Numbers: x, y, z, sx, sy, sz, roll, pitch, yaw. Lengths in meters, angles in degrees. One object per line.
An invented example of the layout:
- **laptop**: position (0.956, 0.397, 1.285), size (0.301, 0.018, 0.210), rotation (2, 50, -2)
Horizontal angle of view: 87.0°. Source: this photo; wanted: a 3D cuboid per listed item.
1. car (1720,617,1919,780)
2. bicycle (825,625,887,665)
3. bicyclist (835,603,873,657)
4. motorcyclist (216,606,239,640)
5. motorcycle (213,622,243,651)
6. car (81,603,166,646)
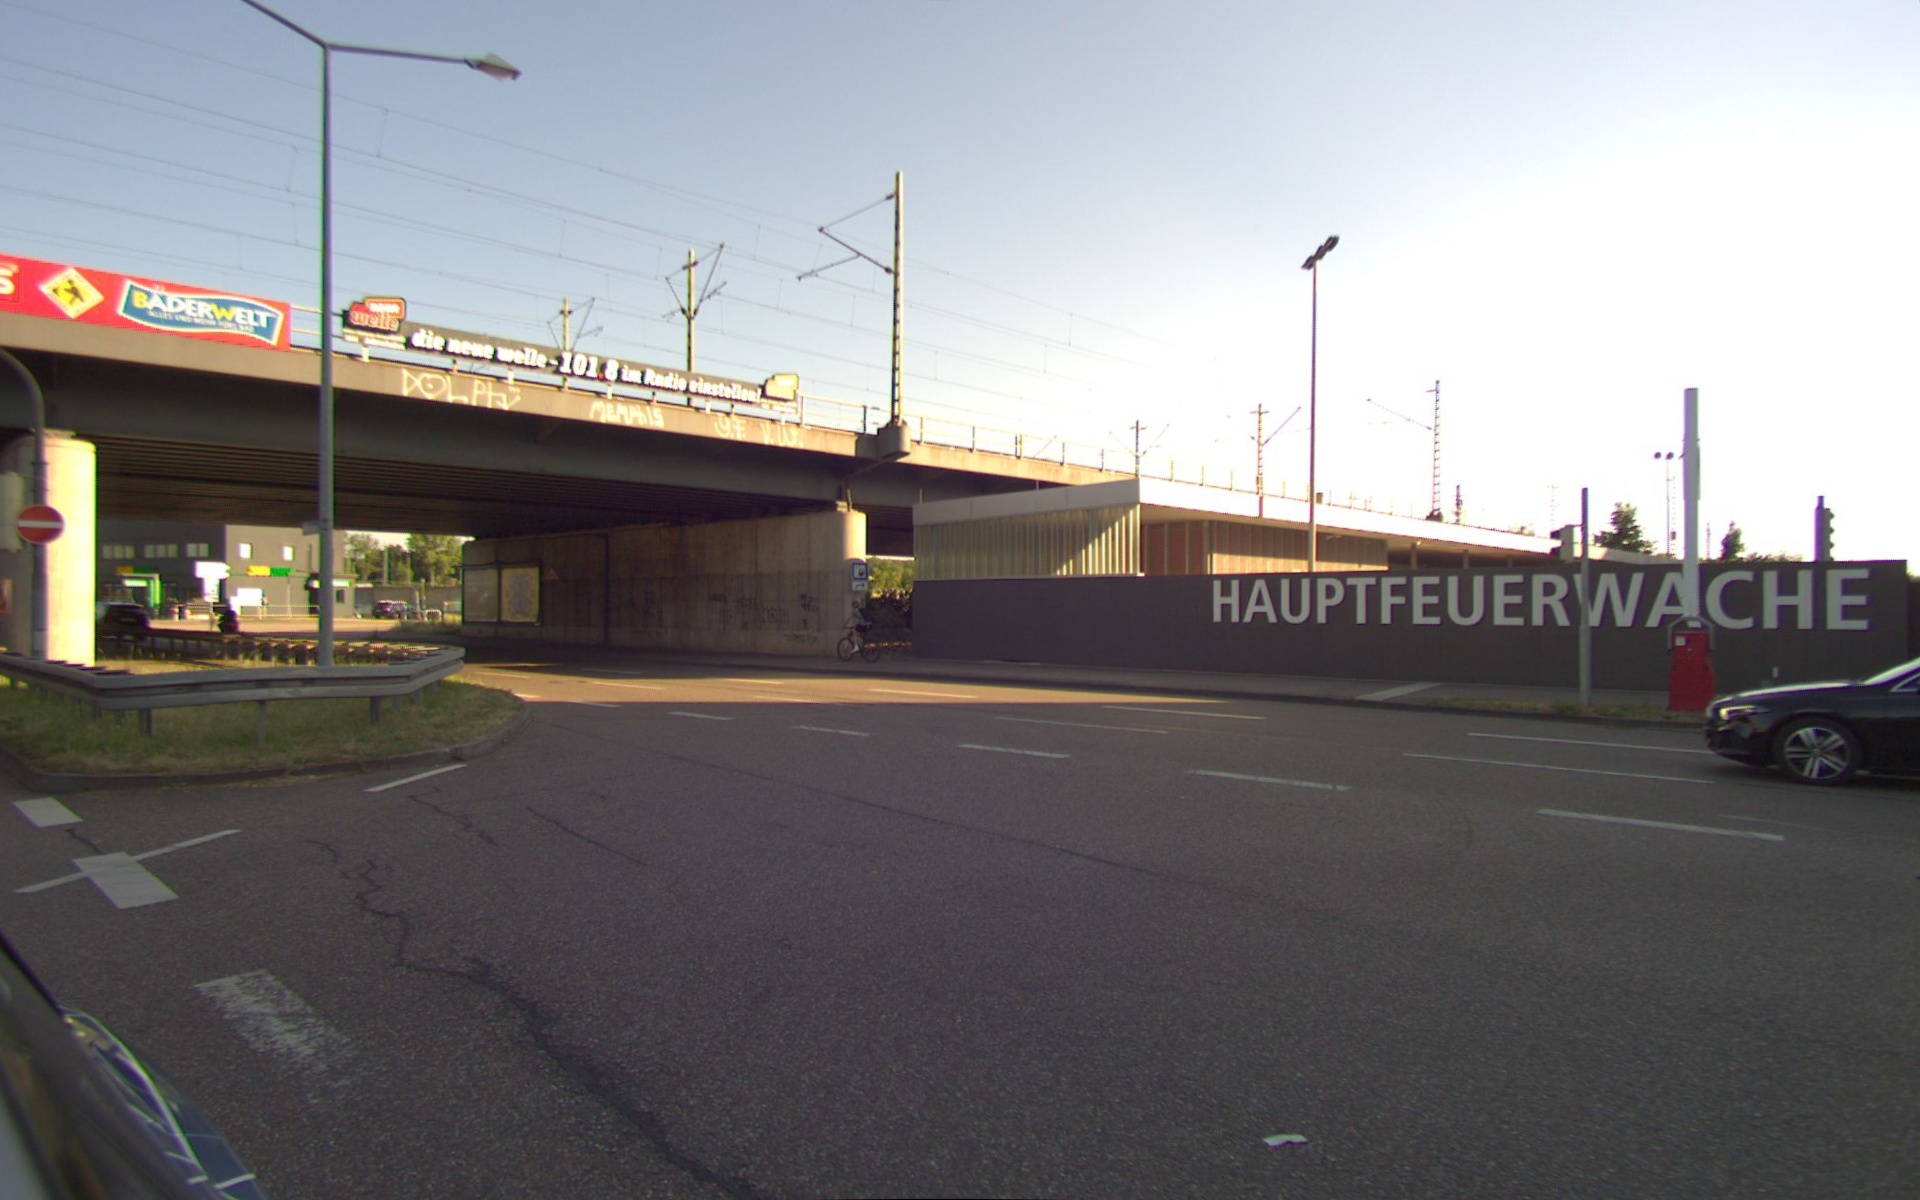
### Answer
- **car**: position (9.697, 0.950, 9.236), size (4.345, 1.411, 1.973), rotation (0, -3, 40)
- **bicycle**: position (-3.158, 1.346, 30.610), size (0.697, 1.165, 2.082), rotation (-1, 0, -45)
- **bicyclist**: position (-3.214, 0.897, 30.670), size (0.716, 1.575, 0.940), rotation (-1, 1, -45)
- **motorcyclist**: position (-31.464, 0.979, 43.464), size (0.868, 1.434, 0.673), rotation (0, 1, 45)
- **motorcycle**: position (-31.416, 1.543, 43.444), size (2.240, 1.165, 0.673), rotation (1, 1, 45)
- **car**: position (-36.645, 1.050, 44.287), size (4.677, 1.709, 1.973), rotation (0, -3, 40)
